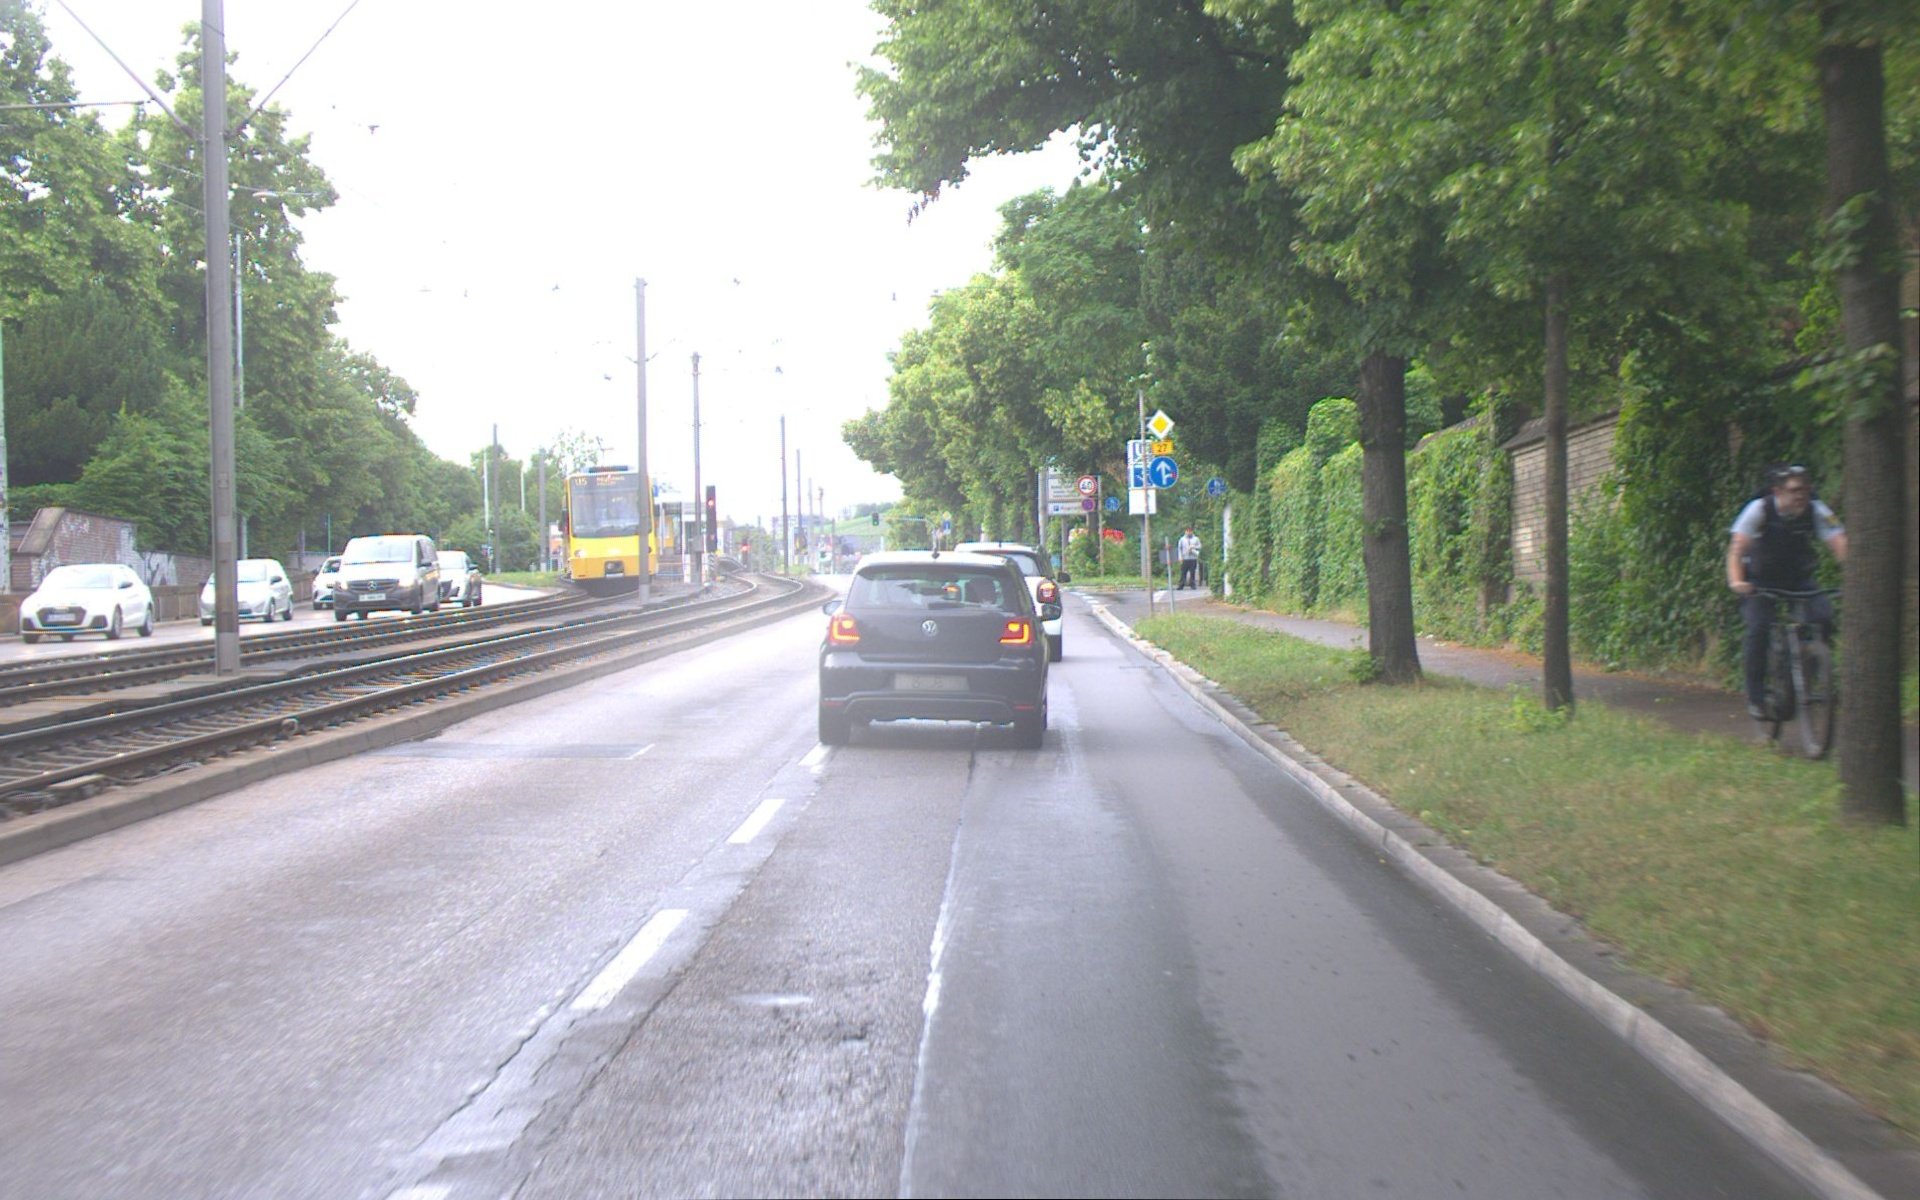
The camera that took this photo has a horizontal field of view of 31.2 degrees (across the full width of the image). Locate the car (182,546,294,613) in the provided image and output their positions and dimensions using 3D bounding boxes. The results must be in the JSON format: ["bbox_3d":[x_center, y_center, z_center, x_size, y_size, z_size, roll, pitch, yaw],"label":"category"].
[{"bbox_3d":[-16.579,-0.491,79.101,1.728,1.438,4.000,0,1,0],"label":"car"}]

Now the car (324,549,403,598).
[{"bbox_3d":[-16.456,-0.738,94.951,1.558,1.334,3.649,0,1,0],"label":"car"}]

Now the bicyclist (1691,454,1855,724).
[{"bbox_3d":[4.998,-0.079,21.186,0.763,1.610,0.999,-1,1,0],"label":"bicyclist"}]

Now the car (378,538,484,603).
[{"bbox_3d":[-13.465,-0.772,87.746,1.993,1.570,4.535,0,1,0],"label":"car"}]

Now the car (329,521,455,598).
[{"bbox_3d":[-12.741,-0.950,77.405,1.993,1.656,5.127,0,1,0],"label":"car"}]

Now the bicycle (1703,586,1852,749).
[{"bbox_3d":[4.995,0.388,21.099,0.407,0.899,2.099,-1,1,0],"label":"bicycle"}]

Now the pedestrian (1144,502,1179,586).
[{"bbox_3d":[7.189,-1.994,122.511,1.164,2.967,0.948,0,1,0],"label":"pedestrian"}]

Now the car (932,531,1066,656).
[{"bbox_3d":[0.523,-0.121,45.260,1.676,1.525,3.722,-1,2,1],"label":"car"}]

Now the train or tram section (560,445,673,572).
[{"bbox_3d":[-10.215,-2.730,102.916,2.832,3.593,9.272,0,1,-2],"label":"train or tram section"}]

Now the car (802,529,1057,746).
[{"bbox_3d":[-0.245,0.229,26.452,1.794,1.480,3.965,1,2,-1],"label":"car"}]

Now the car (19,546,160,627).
[{"bbox_3d":[-16.297,-0.272,64.518,1.616,1.429,4.000,0,1,0],"label":"car"}]
